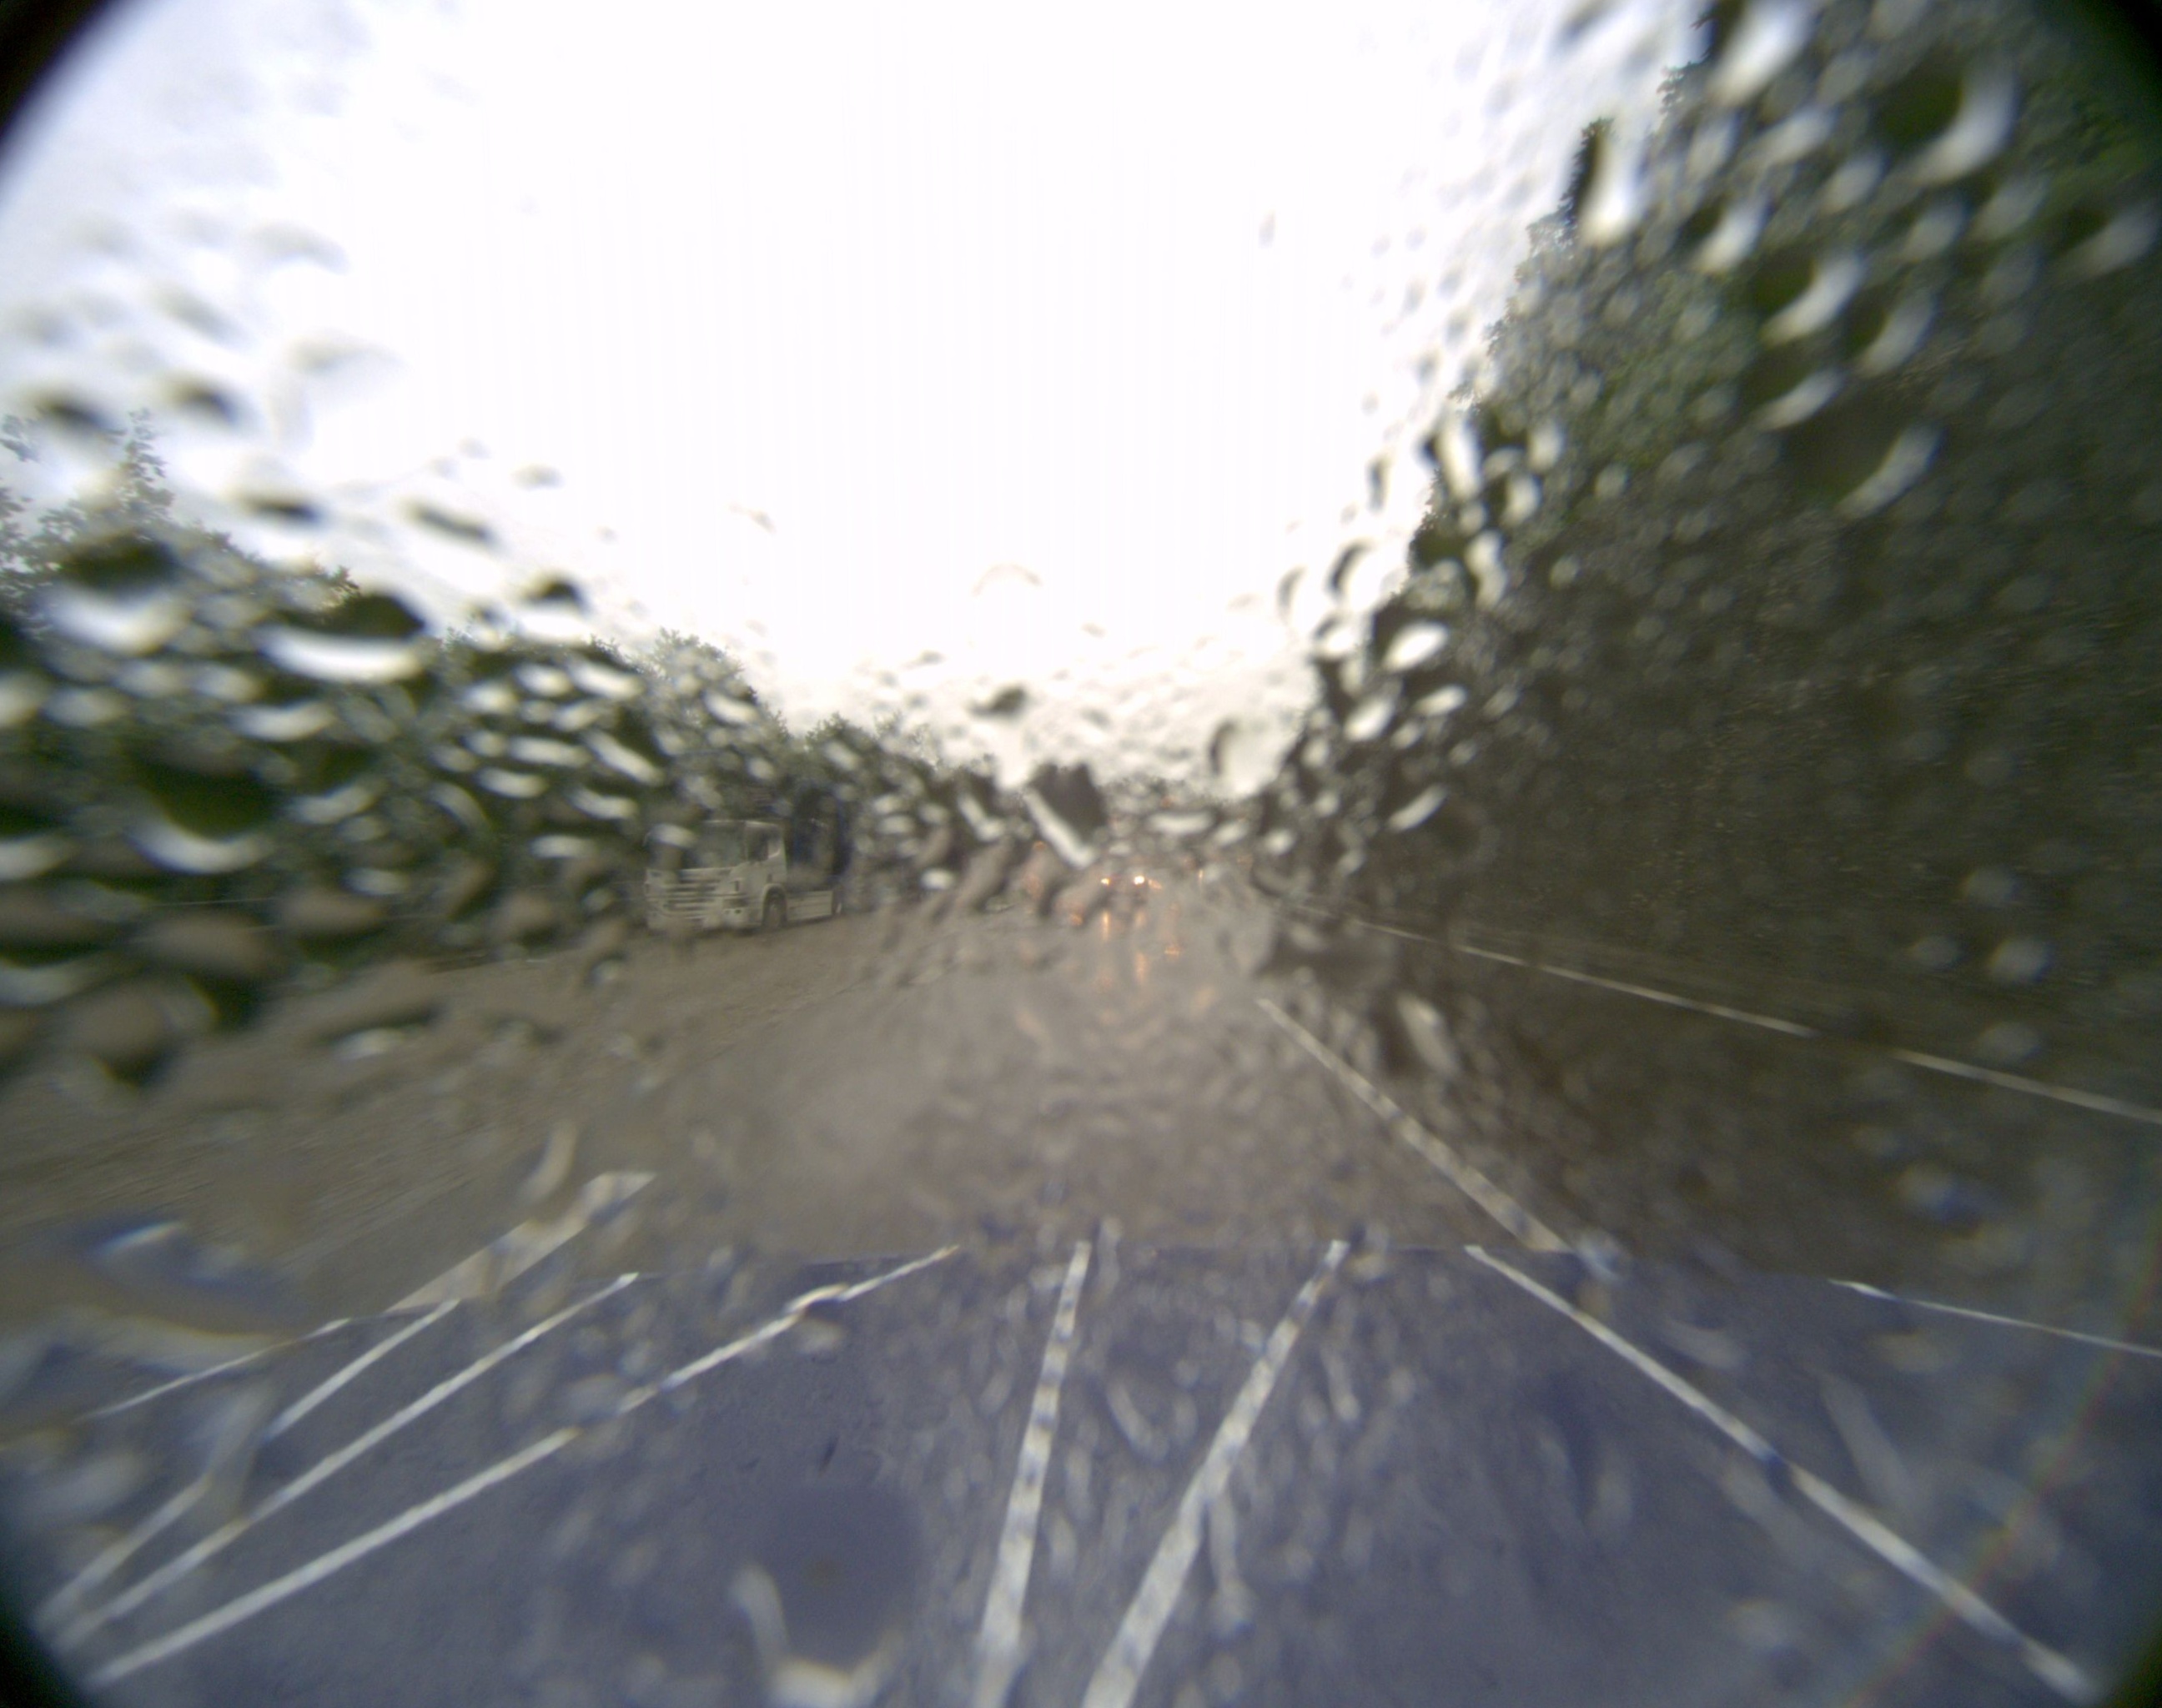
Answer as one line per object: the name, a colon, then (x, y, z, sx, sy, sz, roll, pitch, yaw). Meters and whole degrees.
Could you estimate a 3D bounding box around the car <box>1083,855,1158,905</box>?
car: (1.564, 0.868, 27.478, 2.358, 1.549, 5.502, -3, -1, 6)

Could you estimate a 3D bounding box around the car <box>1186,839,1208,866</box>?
car: (13.043, -0.218, 85.473, 1.739, 3.008, 4.005, 0, 1, 19)

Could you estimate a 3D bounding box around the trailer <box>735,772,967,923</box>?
trailer: (-7.579, -0.229, 28.661, 2.898, 4.220, 14.702, -1, 0, 6)

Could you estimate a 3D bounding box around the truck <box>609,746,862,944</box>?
truck: (-8.433, -0.207, 19.772, 2.902, 4.220, 6.883, -1, 1, 5)
